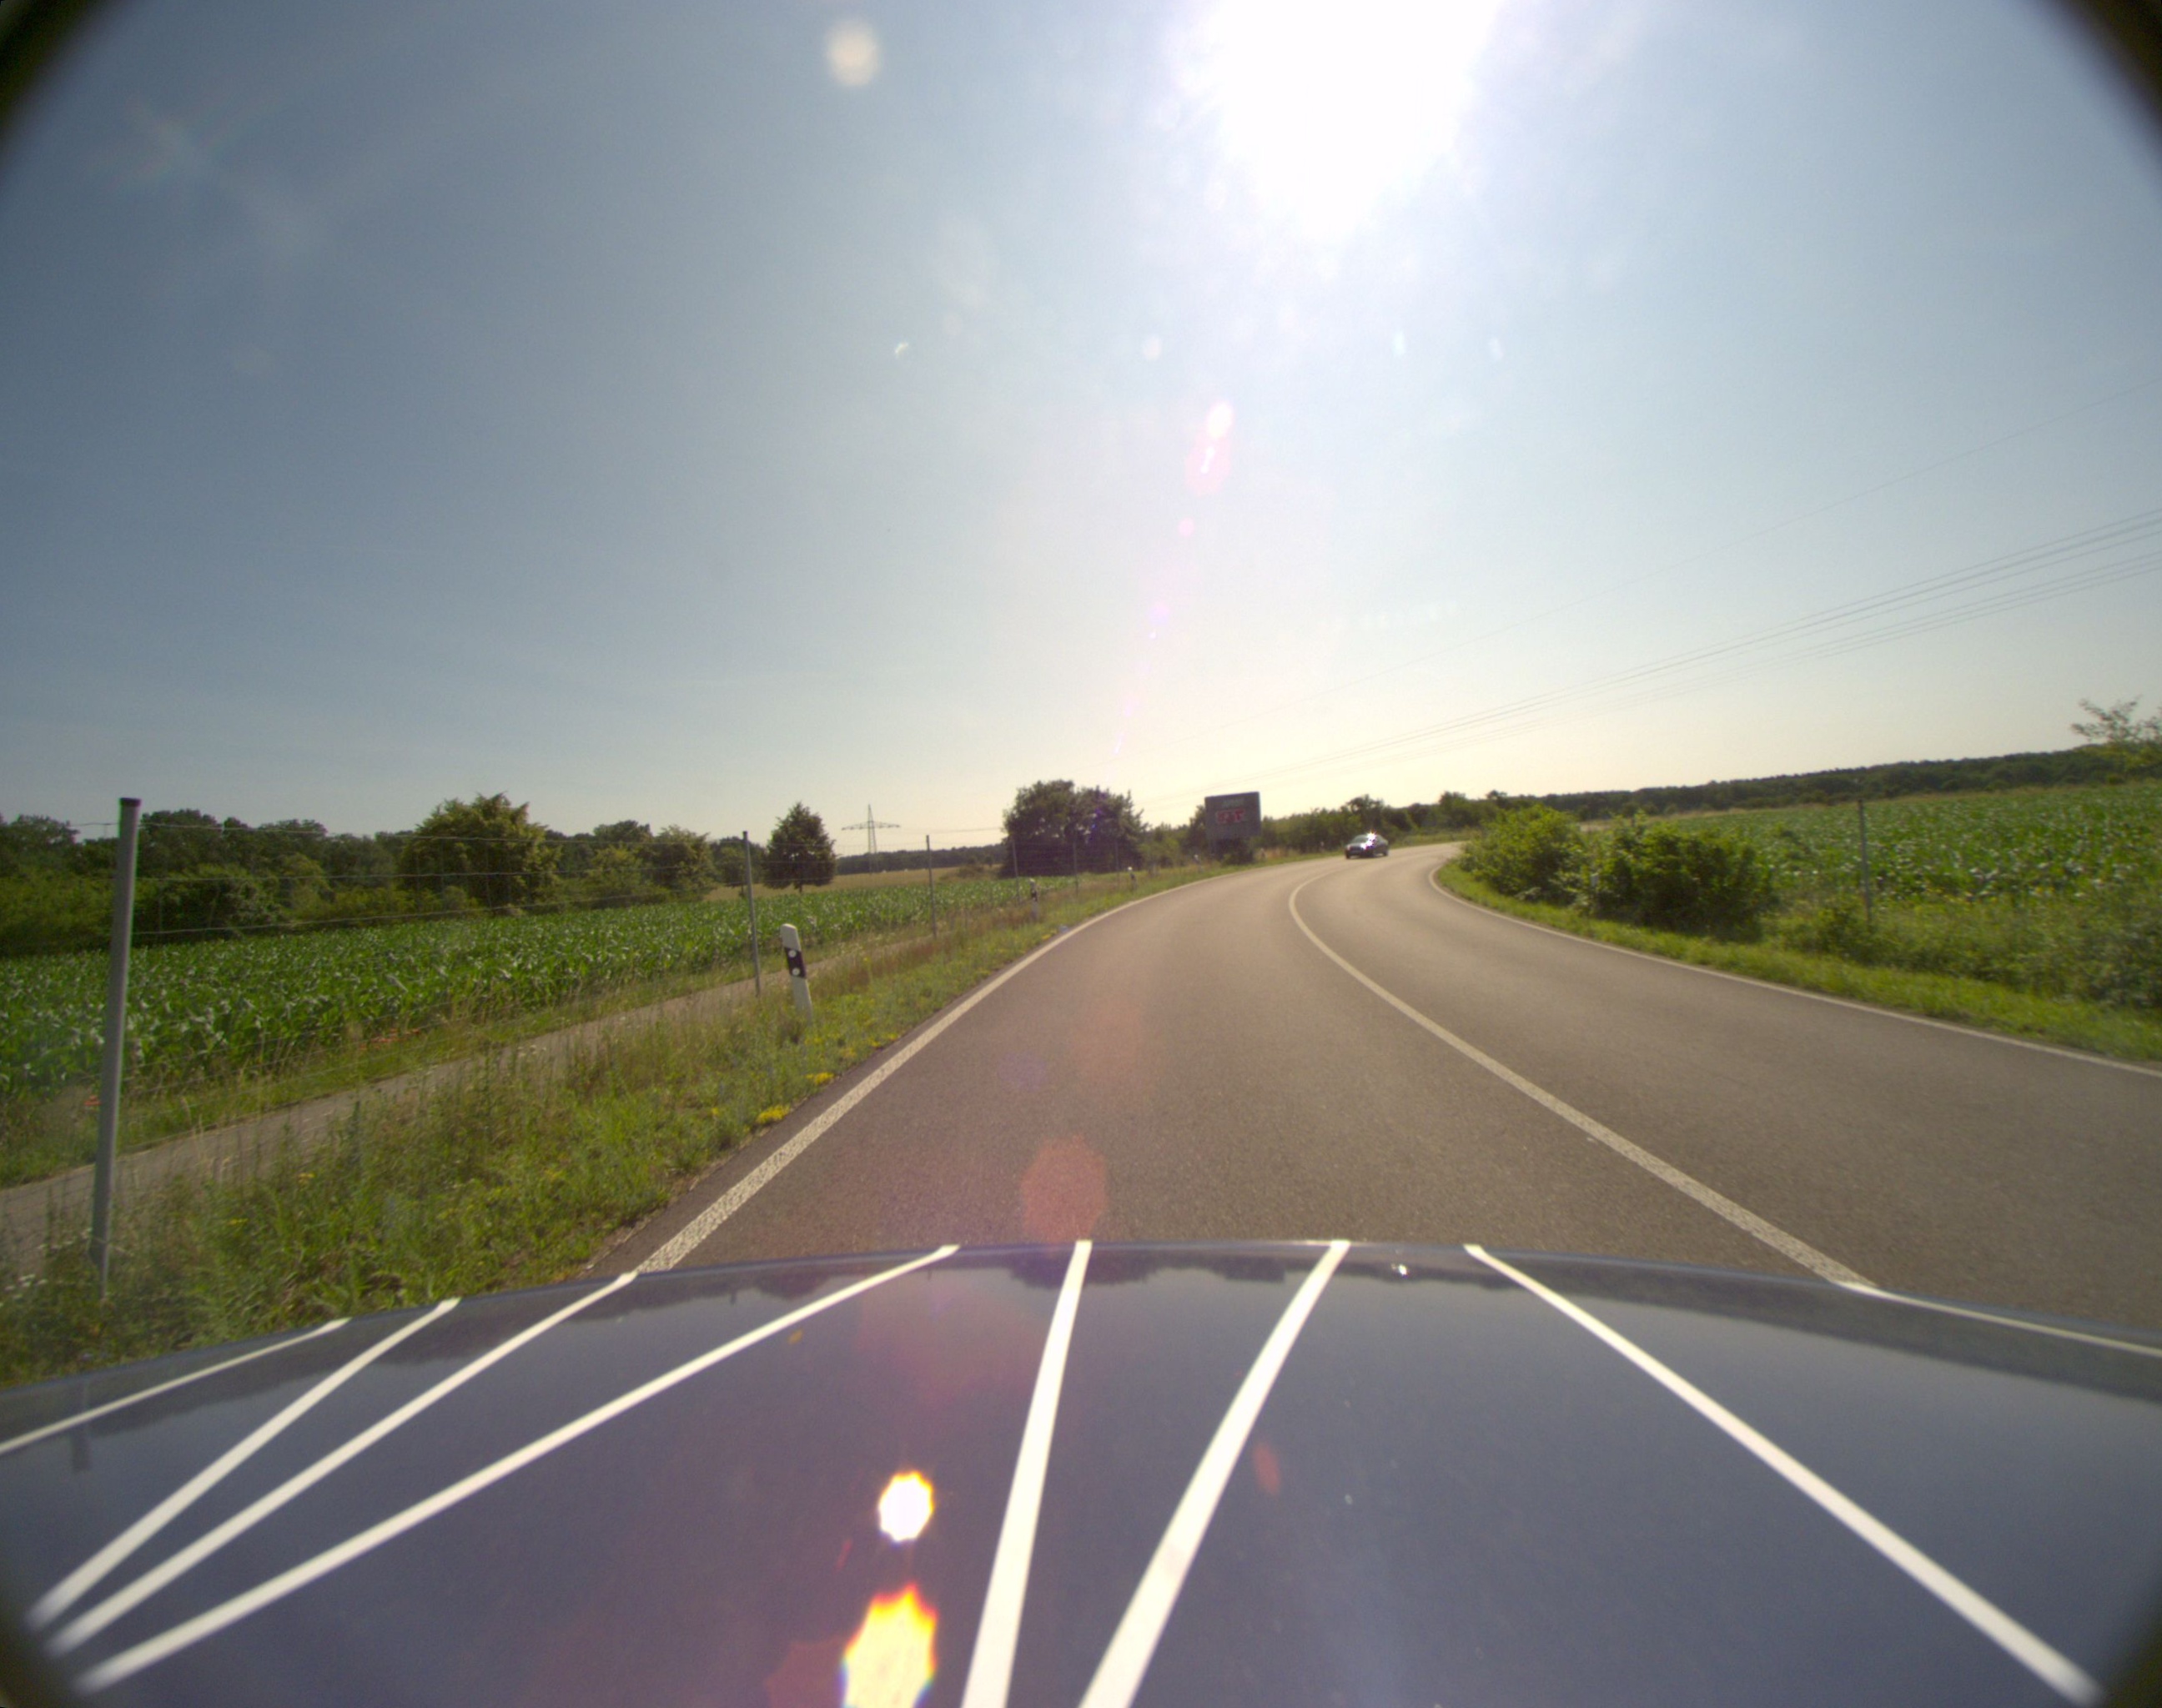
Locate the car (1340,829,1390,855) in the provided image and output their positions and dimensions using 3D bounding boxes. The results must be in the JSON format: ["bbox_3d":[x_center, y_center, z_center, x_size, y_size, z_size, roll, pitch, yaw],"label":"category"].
[{"bbox_3d":[17.992,-0.765,48.008,1.882,1.448,4.082,0,2,37],"label":"car"}]
